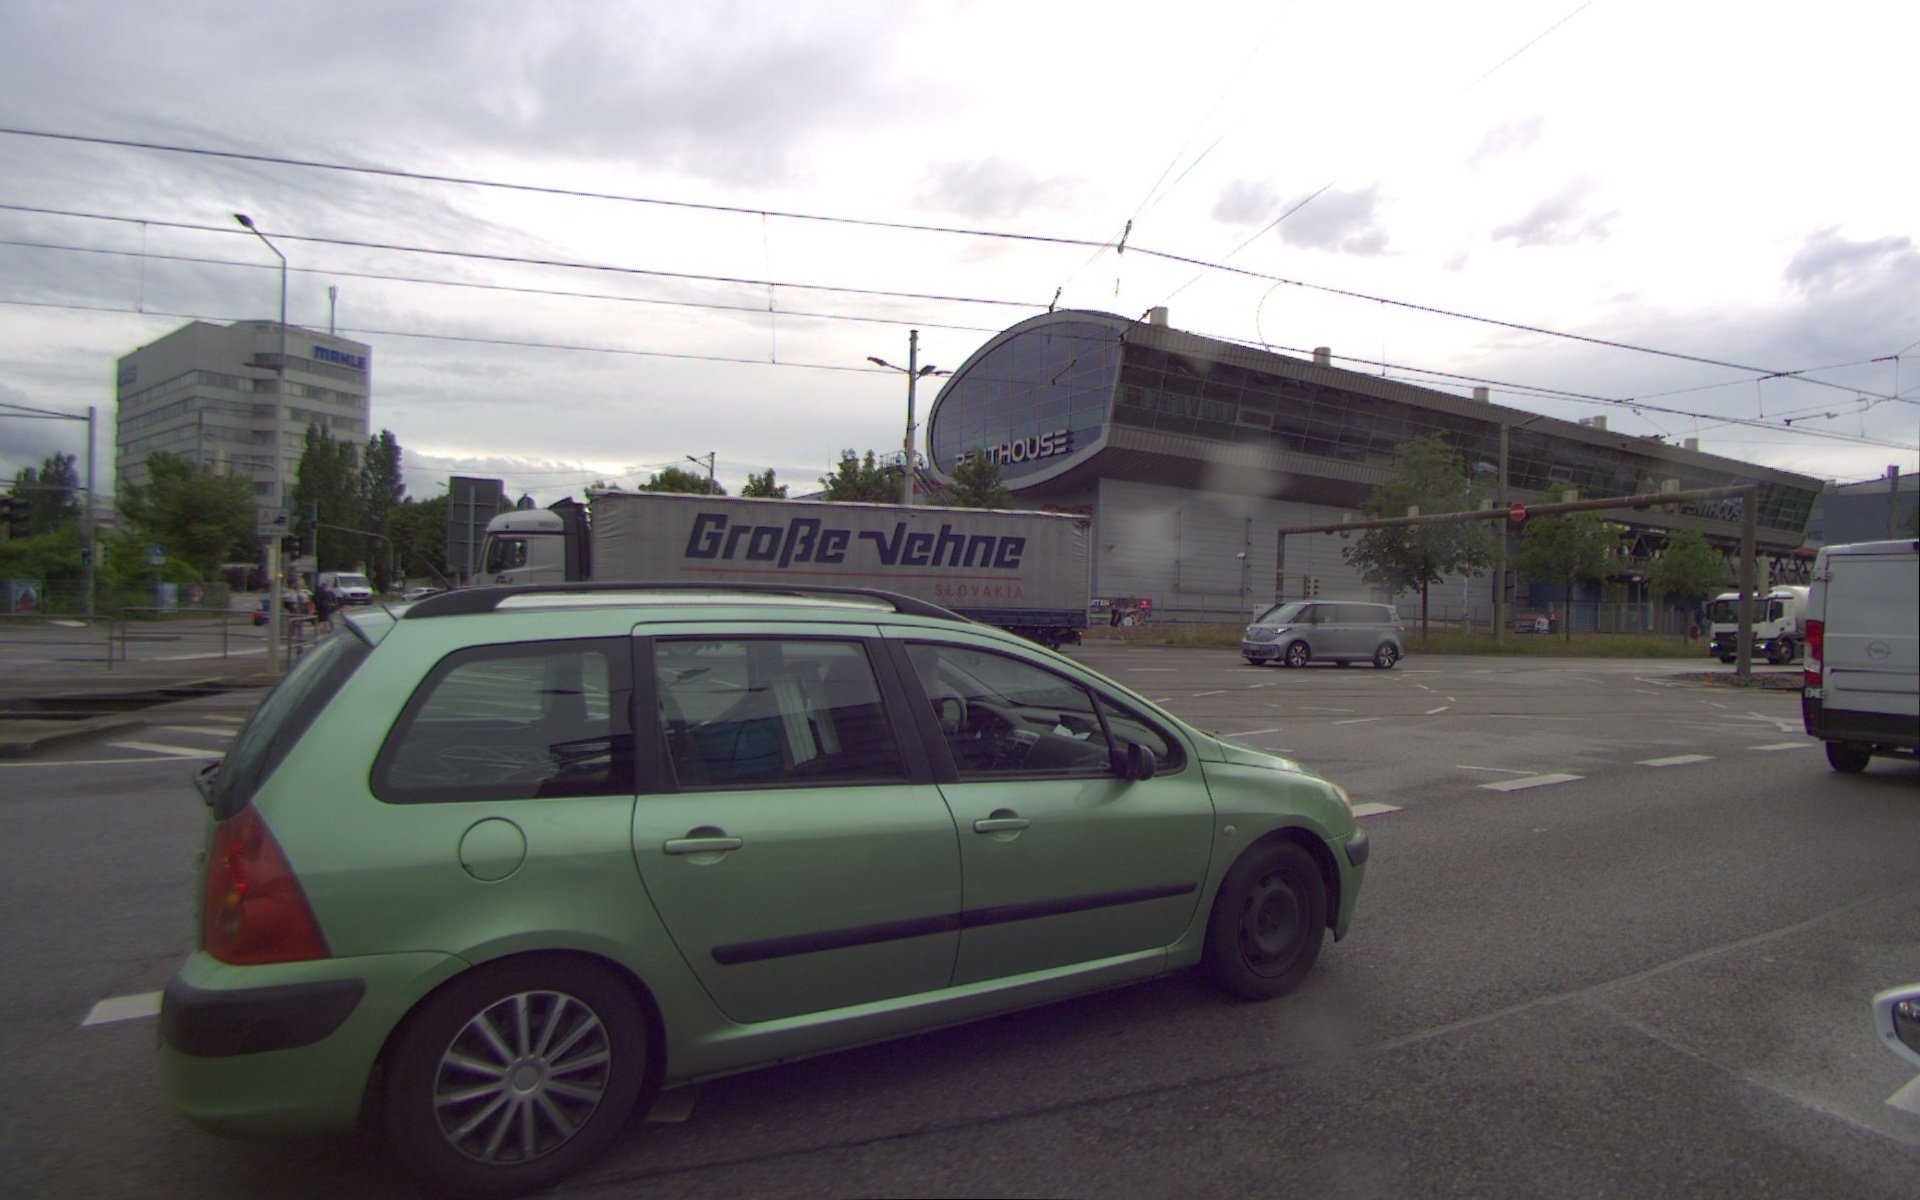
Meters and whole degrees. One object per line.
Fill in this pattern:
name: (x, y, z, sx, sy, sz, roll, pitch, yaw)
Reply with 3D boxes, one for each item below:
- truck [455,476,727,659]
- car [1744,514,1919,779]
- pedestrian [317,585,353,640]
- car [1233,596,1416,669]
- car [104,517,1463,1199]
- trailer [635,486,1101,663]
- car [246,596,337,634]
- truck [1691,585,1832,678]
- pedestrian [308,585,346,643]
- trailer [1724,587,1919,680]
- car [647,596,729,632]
truck: (-9.273, -0.705, 25.817, 6.087, 4.185, 2.665, 2, -1, -18)
car: (10.429, 0.502, 10.155, 4.851, 2.324, 2.432, 3, -1, -32)
pedestrian: (-19.821, 0.402, 31.868, 0.726, 1.685, 0.726, 2, 1, -13)
car: (10.551, 0.871, 29.132, 4.835, 1.862, 1.990, 0, 4, -21)
car: (-0.235, 0.593, 3.847, 4.351, 1.488, 1.686, 2, 2, -30)
trailer: (-2.393, -0.503, 28.010, 12.544, 4.179, 2.648, 2, -1, -18)
car: (-27.950, 0.614, 42.089, 1.426, 1.455, 3.317, 3, 0, 2)
truck: (35.319, 1.427, 44.258, 5.337, 3.855, 2.739, 2, -2, -24)
pedestrian: (-19.368, 0.417, 30.734, 0.726, 1.728, 0.726, 2, 1, -13)
trailer: (40.105, 1.619, 46.434, 11.074, 3.905, 2.717, 2, -2, -24)
car: (-11.582, 0.579, 42.553, 1.982, 1.420, 3.956, 1, 0, -38)
